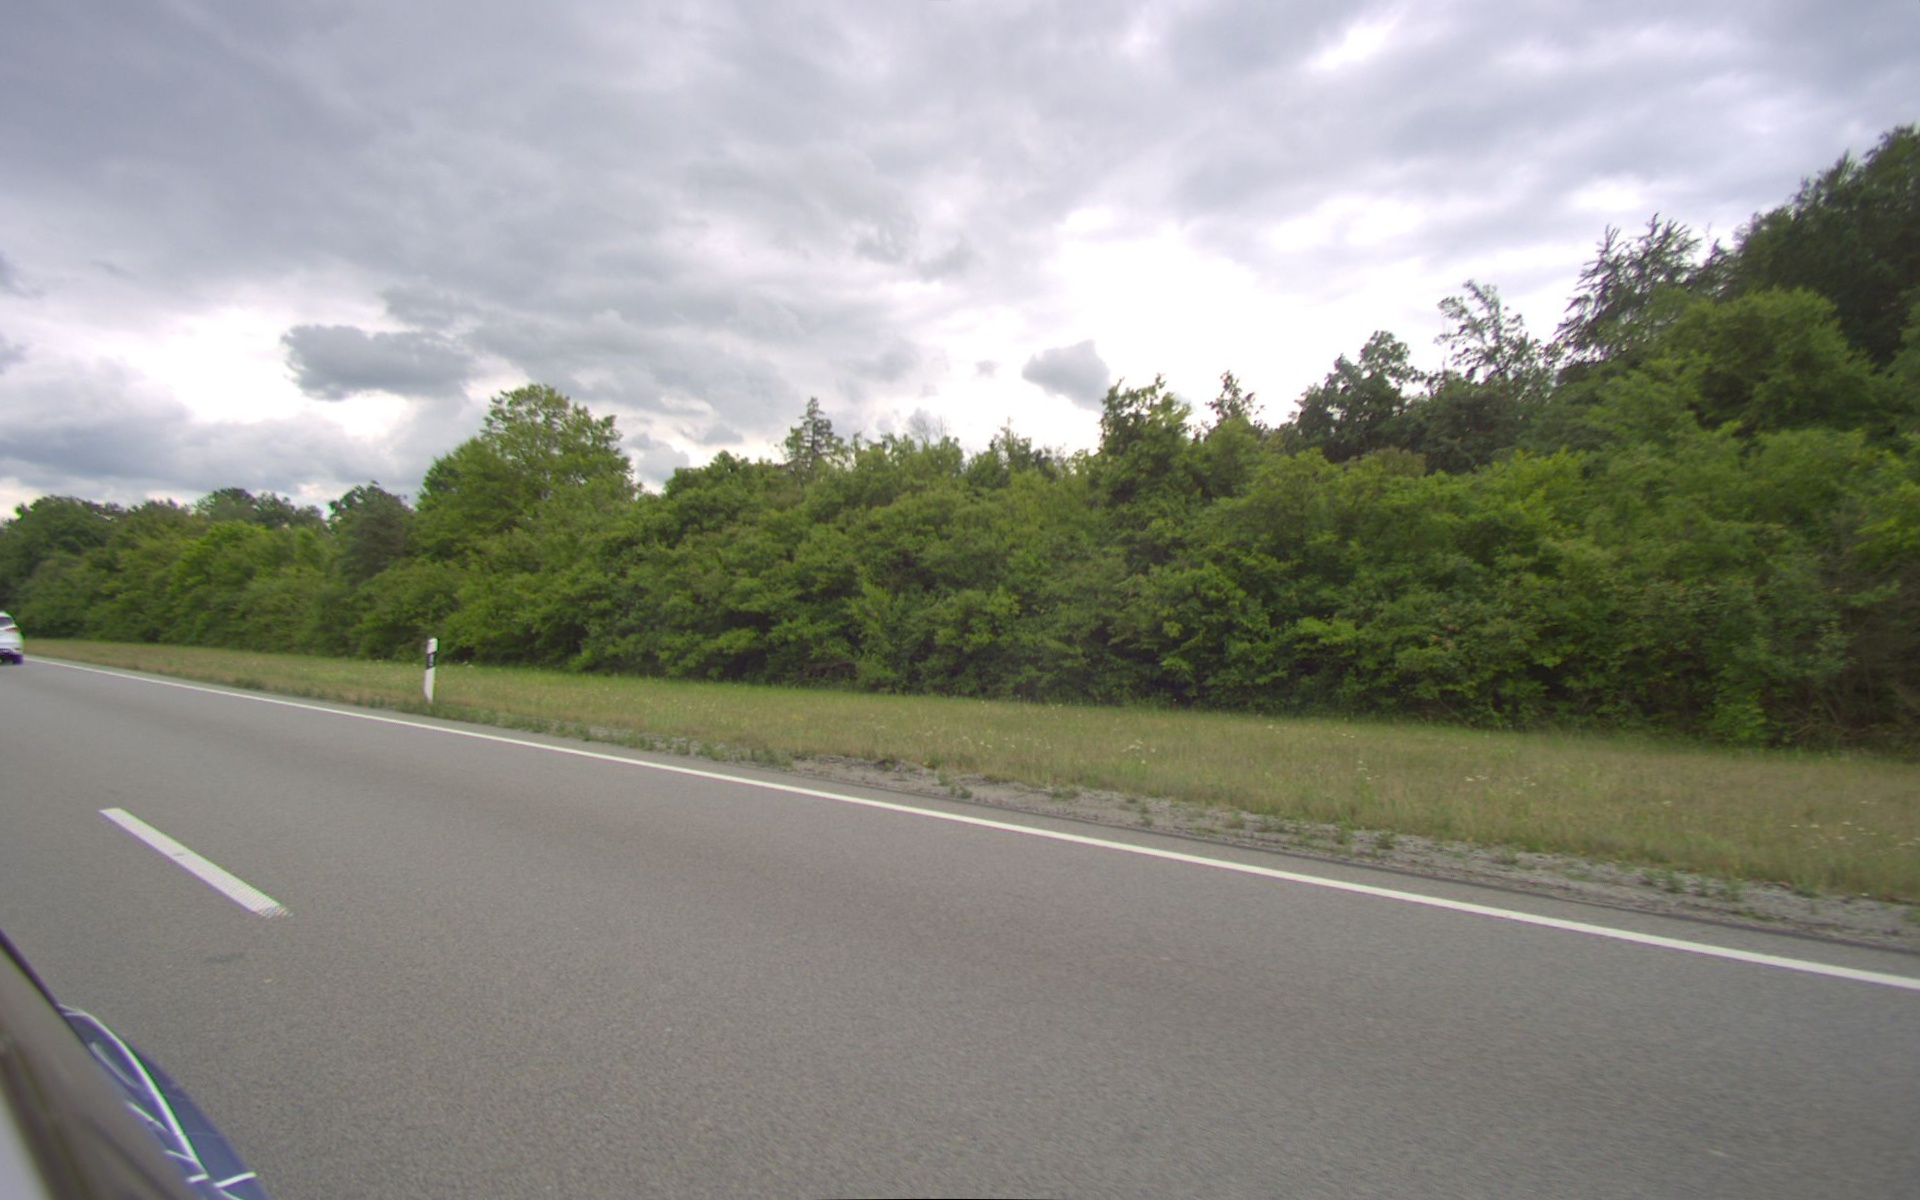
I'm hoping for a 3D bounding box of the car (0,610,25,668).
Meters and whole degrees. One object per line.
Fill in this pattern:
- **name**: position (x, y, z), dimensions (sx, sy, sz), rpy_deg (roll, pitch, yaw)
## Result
- **car**: position (-31.682, 1.252, 32.481), dimensions (4.609, 1.793, 1.894), rpy_deg (-1, -1, 40)
